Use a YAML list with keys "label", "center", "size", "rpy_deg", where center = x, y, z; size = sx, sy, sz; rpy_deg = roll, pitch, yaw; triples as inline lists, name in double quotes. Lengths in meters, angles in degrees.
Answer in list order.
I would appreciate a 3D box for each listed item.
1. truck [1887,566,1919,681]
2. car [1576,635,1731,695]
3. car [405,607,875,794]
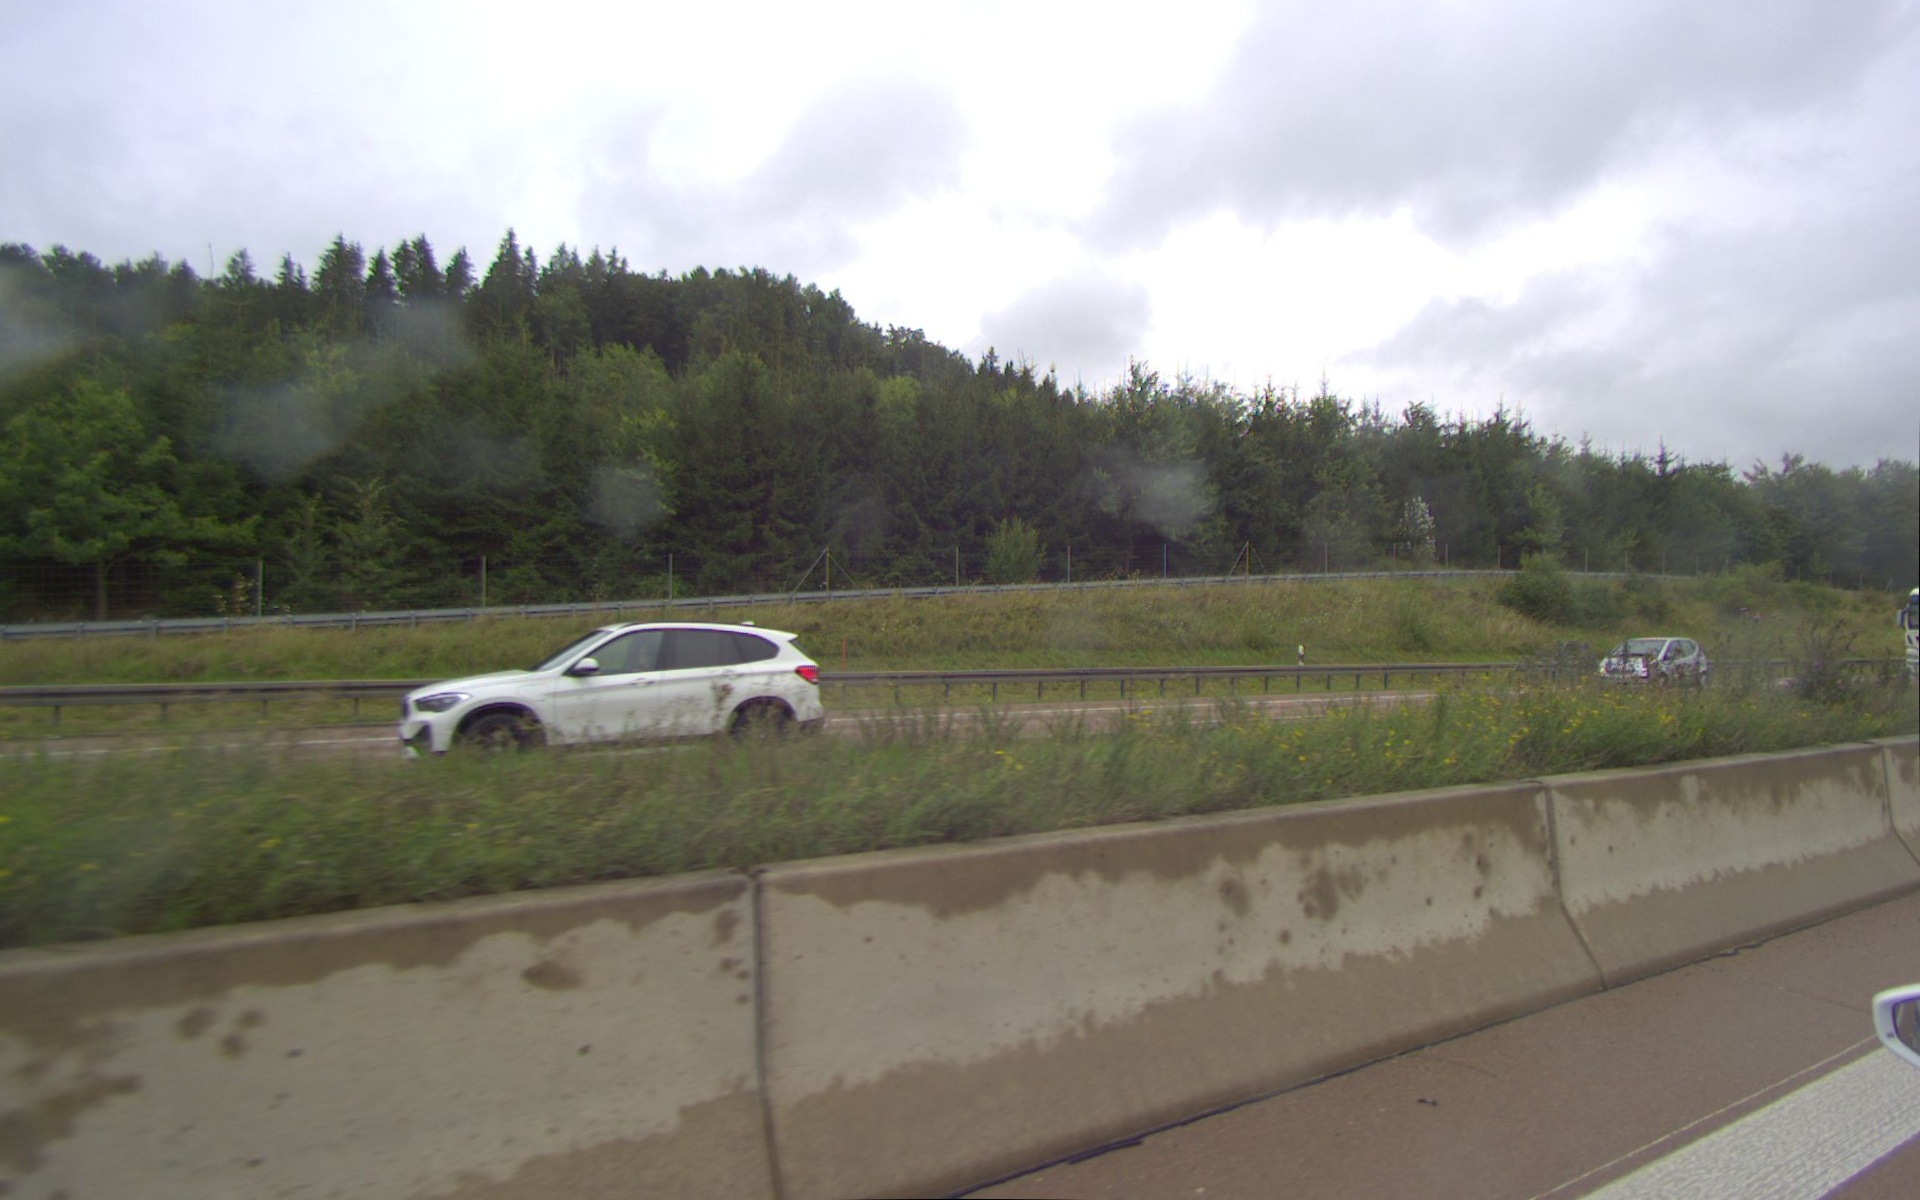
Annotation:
- label: "truck"
  center: [41.020, 1.085, 40.839]
  size: [6.712, 4.536, 2.936]
  rpy_deg: [3, 0, -30]
- label: "car"
  center: [20.048, 1.869, 28.995]
  size: [4.471, 1.596, 1.984]
  rpy_deg: [3, -2, -30]
- label: "car"
  center: [-3.471, 1.025, 11.181]
  size: [4.652, 1.688, 1.856]
  rpy_deg: [3, 0, -29]
